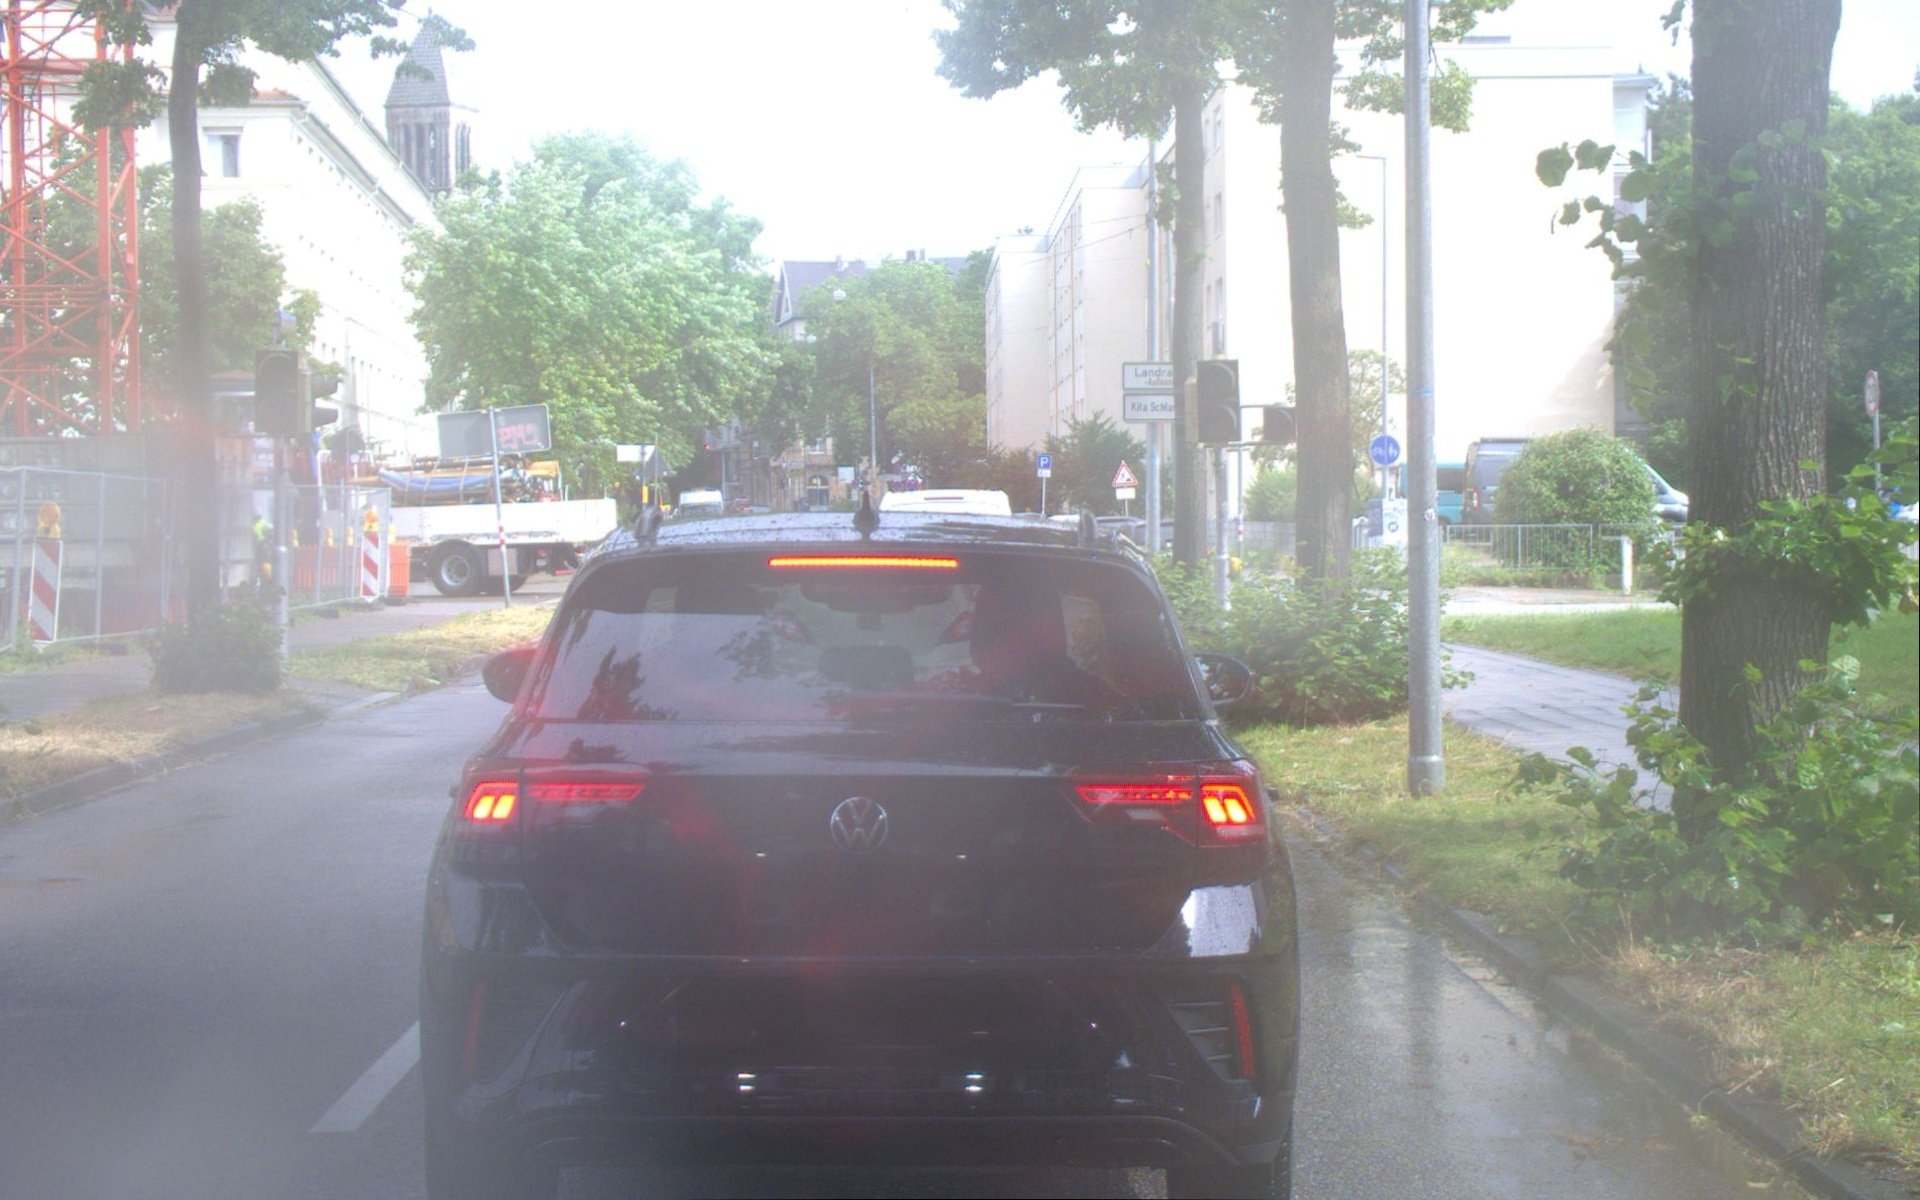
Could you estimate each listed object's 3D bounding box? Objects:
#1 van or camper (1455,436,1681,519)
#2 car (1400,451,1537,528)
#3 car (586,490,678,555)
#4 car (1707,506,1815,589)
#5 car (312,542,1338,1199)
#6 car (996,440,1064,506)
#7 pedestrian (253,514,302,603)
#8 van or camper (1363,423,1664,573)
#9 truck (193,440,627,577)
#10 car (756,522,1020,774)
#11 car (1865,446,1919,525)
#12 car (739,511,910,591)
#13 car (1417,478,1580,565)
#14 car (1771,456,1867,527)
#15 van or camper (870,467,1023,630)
[{"bbox_3d":[14.097,-2.853,79.887,4.874,1.919,2.131,0,2,0],"label":"van or camper"},{"bbox_3d":[13.287,-2.888,89.908,3.408,1.775,1.759,-3,1,9],"label":"car"},{"bbox_3d":[-8.416,-2.008,88.398,1.591,1.507,3.731,-3,2,5],"label":"car"},{"bbox_3d":[17.723,-1.183,76.191,1.743,1.678,3.870,-3,1,6],"label":"car"},{"bbox_3d":[-0.268,0.641,8.366,1.894,1.517,4.000,0,2,-1],"label":"car"},{"bbox_3d":[2.172,-3.966,108.202,1.993,2.007,4.000,0,1,-1],"label":"car"},{"bbox_3d":[-11.544,-0.710,58.140,0.660,1.480,0.673,-1,2,-25],"label":"pedestrian"},{"bbox_3d":[10.009,-1.847,62.401,5.032,2.587,2.168,-1,1,-1],"label":"van or camper"},{"bbox_3d":[-11.030,-1.878,69.010,8.220,2.647,2.812,1,2,18],"label":"truck"},{"bbox_3d":[-0.477,0.305,26.231,1.680,1.702,3.909,-3,1,3],"label":"car"},{"bbox_3d":[25.503,-3.076,91.327,1.994,2.006,4.000,-3,1,4],"label":"car"},{"bbox_3d":[-3.199,-1.180,81.561,1.758,1.645,3.927,-2,2,41],"label":"car"},{"bbox_3d":[11.750,-1.718,75.156,3.408,1.775,1.760,-2,1,6],"label":"car"},{"bbox_3d":[24.255,-3.062,97.227,1.867,1.850,3.810,-3,1,4],"label":"car"},{"bbox_3d":[-0.131,-0.680,43.255,1.819,1.941,4.195,0,2,1],"label":"van or camper"}]
